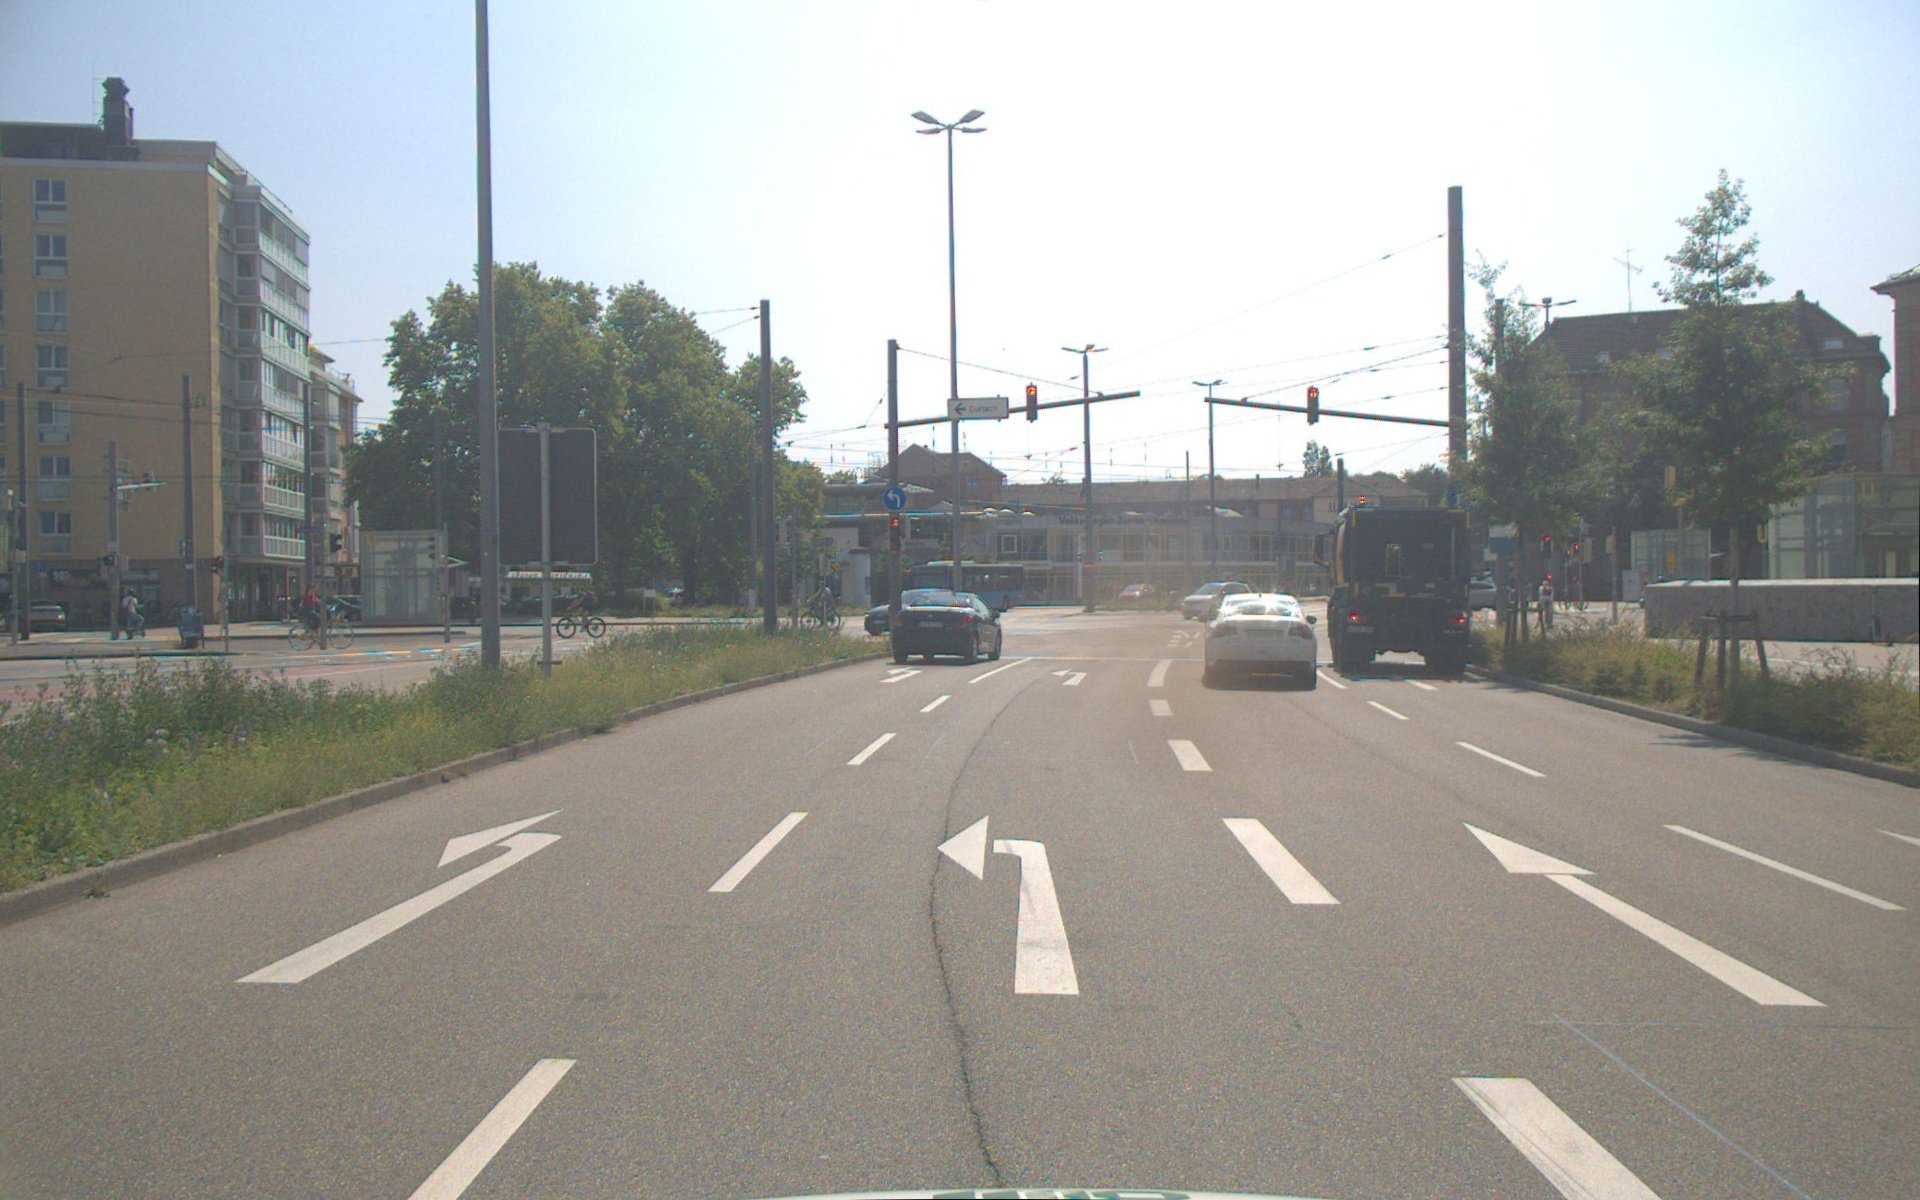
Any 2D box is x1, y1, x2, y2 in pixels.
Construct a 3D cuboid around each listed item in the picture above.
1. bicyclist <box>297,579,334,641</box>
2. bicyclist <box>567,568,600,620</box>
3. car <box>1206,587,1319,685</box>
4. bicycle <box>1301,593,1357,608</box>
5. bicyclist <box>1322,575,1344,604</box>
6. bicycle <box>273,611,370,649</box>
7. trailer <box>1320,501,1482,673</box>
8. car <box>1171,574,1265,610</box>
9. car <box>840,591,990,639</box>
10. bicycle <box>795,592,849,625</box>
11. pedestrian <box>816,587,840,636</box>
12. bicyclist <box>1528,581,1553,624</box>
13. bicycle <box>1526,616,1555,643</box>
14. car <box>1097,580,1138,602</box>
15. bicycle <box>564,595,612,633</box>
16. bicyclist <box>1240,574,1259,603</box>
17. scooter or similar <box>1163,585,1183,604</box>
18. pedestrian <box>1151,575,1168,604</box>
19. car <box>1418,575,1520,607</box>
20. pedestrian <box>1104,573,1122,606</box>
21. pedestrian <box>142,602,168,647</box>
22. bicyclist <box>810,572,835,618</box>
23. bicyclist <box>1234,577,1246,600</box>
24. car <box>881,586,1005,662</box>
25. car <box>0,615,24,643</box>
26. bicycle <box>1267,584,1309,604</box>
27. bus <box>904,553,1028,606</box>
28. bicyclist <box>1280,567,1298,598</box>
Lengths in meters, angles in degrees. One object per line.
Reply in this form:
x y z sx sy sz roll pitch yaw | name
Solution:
-17.529 0.275 45.023 0.823 1.671 0.605 0 0 -10 | bicyclist
-12.527 -0.206 55.057 0.960 1.683 0.657 -1 0 -26 | bicyclist
5.023 0.546 27.940 1.720 1.480 4.429 0 1 8 | car
20.097 0.030 90.054 2.882 0.740 0.862 -1 0 -11 | bicycle
20.301 -0.569 90.085 0.887 1.527 0.862 -1 0 -11 | bicyclist
-17.372 0.815 45.045 2.365 0.970 0.602 -1 0 -10 | bicycle
8.623 -0.289 32.965 2.410 3.060 6.331 1 1 9 | trailer
11.026 -0.343 70.568 4.026 1.450 1.751 -1 1 -39 | car
-1.456 0.463 53.746 4.504 1.463 1.979 -1 0 -32 | car
-4.991 0.315 60.047 0.686 1.156 2.032 -1 0 41 | bicycle
-3.552 0.308 44.437 0.585 1.290 0.504 -1 3 -11 | pedestrian
18.499 0.070 52.748 0.660 1.343 0.684 -1 0 13 | bicyclist
18.525 0.936 52.794 0.660 0.790 2.129 -1 1 14 | bicycle
10.397 -0.605 108.932 1.693 1.444 3.840 0 1 22 | car
-12.287 0.434 54.541 0.960 1.199 2.809 -1 1 -25 | bicycle
15.804 -0.609 90.318 0.783 1.568 0.761 -1 0 -11 | bicyclist
11.795 -0.303 91.621 0.825 0.991 0.786 -1 1 -25 | scooter or similar
10.994 -0.574 91.261 0.627 1.588 0.742 -1 0 -24 | pedestrian
24.207 -0.442 78.651 4.515 1.424 1.930 -1 0 -26 | car
8.429 -0.573 90.848 0.767 1.782 0.808 0 0 23 | pedestrian
-29.790 0.906 61.192 0.636 1.661 0.813 -1 0 -9 | pedestrian
-4.984 -0.189 60.046 0.680 1.678 0.616 0 1 42 | bicyclist
14.757 -0.602 87.254 0.493 1.209 0.507 0 0 24 | bicyclist
-0.272 0.445 33.712 1.720 1.429 3.984 0 1 12 | car
-37.289 1.109 61.657 3.818 1.004 1.710 -1 0 -15 | car
18.201 -0.337 91.758 2.156 1.106 0.761 -1 0 -8 | bicycle
0.572 -1.240 99.873 2.992 2.982 11.848 0 1 24 | bus
18.253 -0.978 91.762 0.747 1.662 0.761 -1 0 -8 | bicyclist
